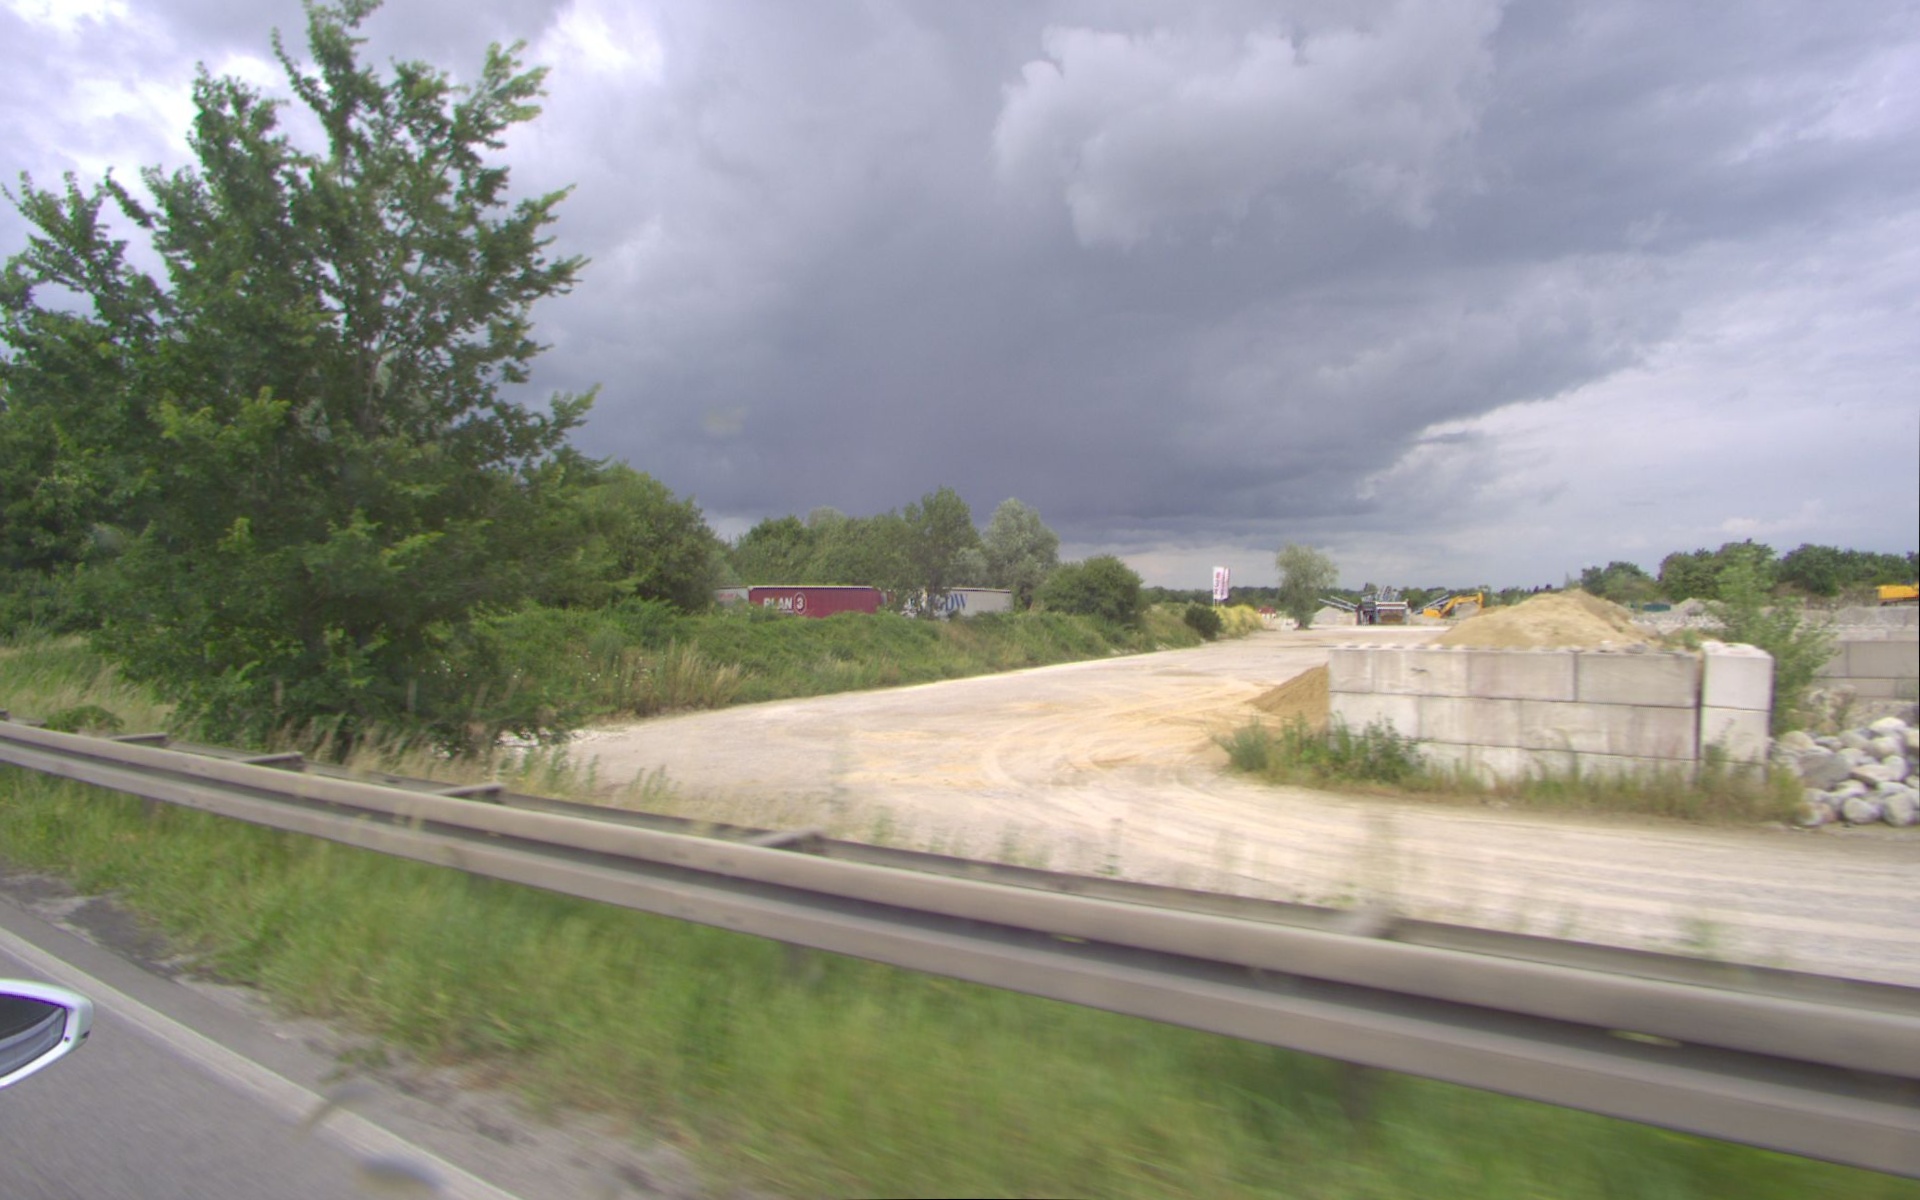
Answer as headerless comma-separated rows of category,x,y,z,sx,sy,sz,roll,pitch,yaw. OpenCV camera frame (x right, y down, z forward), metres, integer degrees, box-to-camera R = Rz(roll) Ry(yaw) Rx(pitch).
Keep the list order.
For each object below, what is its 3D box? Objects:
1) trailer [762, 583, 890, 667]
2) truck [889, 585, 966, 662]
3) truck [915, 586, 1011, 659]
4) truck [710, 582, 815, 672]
trailer,-8.195,1.489,63.178,2.625,4.898,10.243,0,0,27
truck,-2.128,1.553,67.690,2.625,4.953,5.942,0,0,27
truck,0.388,1.579,72.575,2.625,4.915,10.140,0,0,27
truck,-11.194,1.488,57.313,2.625,4.850,6.139,0,0,27
